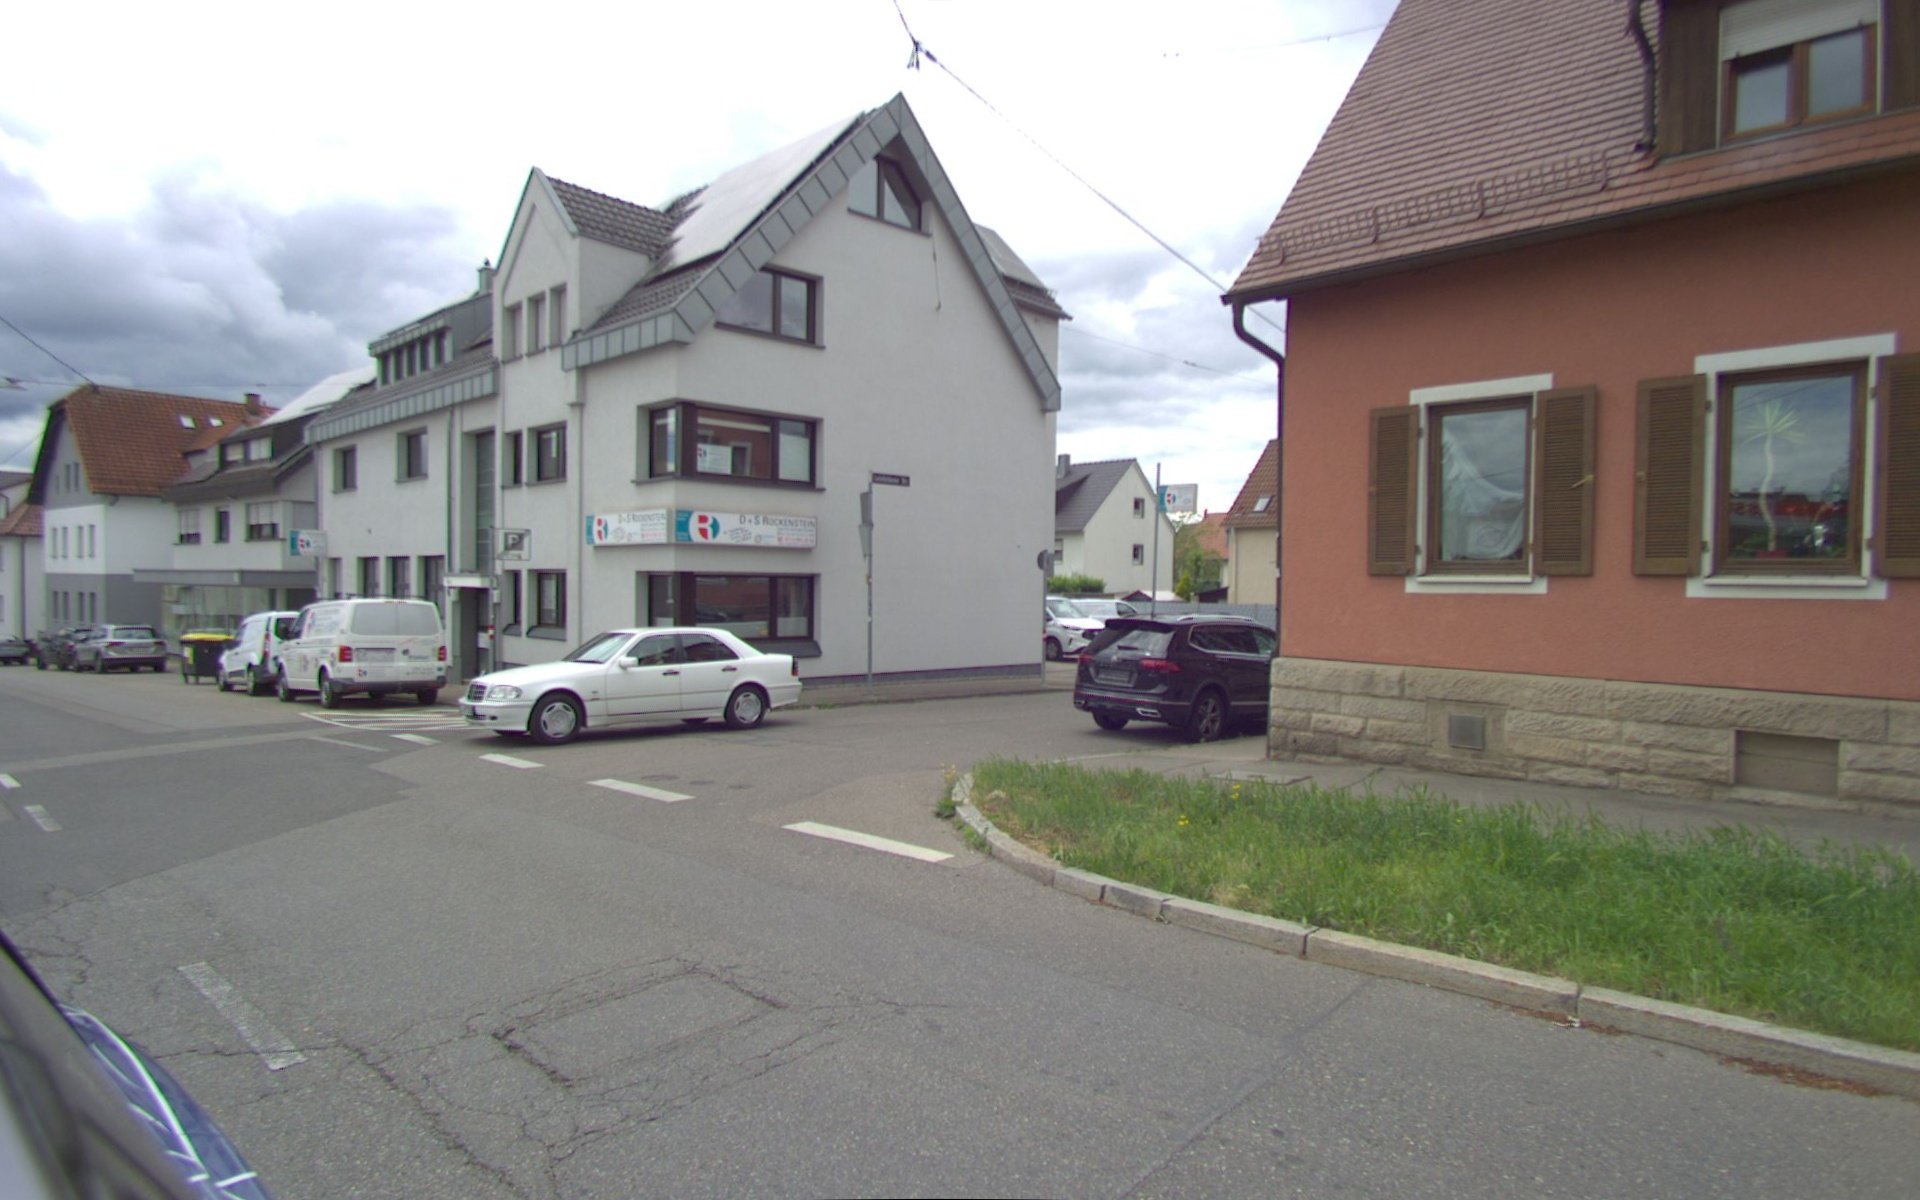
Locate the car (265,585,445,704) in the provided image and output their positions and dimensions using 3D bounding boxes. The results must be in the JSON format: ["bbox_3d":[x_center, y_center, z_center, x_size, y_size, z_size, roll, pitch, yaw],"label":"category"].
[{"bbox_3d":[-11.784,0.849,19.564,4.764,2.021,1.792,-2,-3,44],"label":"car"}]

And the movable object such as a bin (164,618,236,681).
[{"bbox_3d":[-20.556,1.311,27.368,1.559,1.645,1.130,-2,-2,36],"label":"movable object such as a bin"}]

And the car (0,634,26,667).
[{"bbox_3d":[-44.671,2.321,46.423,4.458,1.456,1.821,-2,-3,36],"label":"car"}]

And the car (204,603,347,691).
[{"bbox_3d":[-15.798,1.060,23.280,4.296,1.846,1.715,-2,-3,42],"label":"car"}]

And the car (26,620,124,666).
[{"bbox_3d":[-33.391,1.622,38.149,4.399,1.645,1.821,-2,-2,36],"label":"car"}]

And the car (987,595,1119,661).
[{"bbox_3d":[2.817,0.799,31.272,1.870,1.864,3.912,-1,1,-38],"label":"car"}]

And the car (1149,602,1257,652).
[{"bbox_3d":[8.991,0.953,37.308,3.995,1.602,1.806,-3,1,-40],"label":"car"}]

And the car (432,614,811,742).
[{"bbox_3d":[-4.475,0.962,13.832,4.499,1.456,2.002,2,-3,-43],"label":"car"}]

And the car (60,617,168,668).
[{"bbox_3d":[-29.230,1.450,34.926,4.399,1.645,1.821,-2,-2,36],"label":"car"}]

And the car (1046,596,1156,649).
[{"bbox_3d":[5.696,0.877,40.911,3.988,1.935,1.809,-2,1,-23],"label":"car"}]

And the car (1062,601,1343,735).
[{"bbox_3d":[3.480,0.892,14.168,3.995,1.602,1.806,3,-2,-40],"label":"car"}]

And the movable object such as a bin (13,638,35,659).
[{"bbox_3d":[-50.648,2.612,54.753,0.757,1.053,0.671,-2,1,35],"label":"movable object such as a bin"}]

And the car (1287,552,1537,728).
[{"bbox_3d":[8.553,0.596,18.950,4.874,2.795,2.275,-3,1,-39],"label":"car"}]
